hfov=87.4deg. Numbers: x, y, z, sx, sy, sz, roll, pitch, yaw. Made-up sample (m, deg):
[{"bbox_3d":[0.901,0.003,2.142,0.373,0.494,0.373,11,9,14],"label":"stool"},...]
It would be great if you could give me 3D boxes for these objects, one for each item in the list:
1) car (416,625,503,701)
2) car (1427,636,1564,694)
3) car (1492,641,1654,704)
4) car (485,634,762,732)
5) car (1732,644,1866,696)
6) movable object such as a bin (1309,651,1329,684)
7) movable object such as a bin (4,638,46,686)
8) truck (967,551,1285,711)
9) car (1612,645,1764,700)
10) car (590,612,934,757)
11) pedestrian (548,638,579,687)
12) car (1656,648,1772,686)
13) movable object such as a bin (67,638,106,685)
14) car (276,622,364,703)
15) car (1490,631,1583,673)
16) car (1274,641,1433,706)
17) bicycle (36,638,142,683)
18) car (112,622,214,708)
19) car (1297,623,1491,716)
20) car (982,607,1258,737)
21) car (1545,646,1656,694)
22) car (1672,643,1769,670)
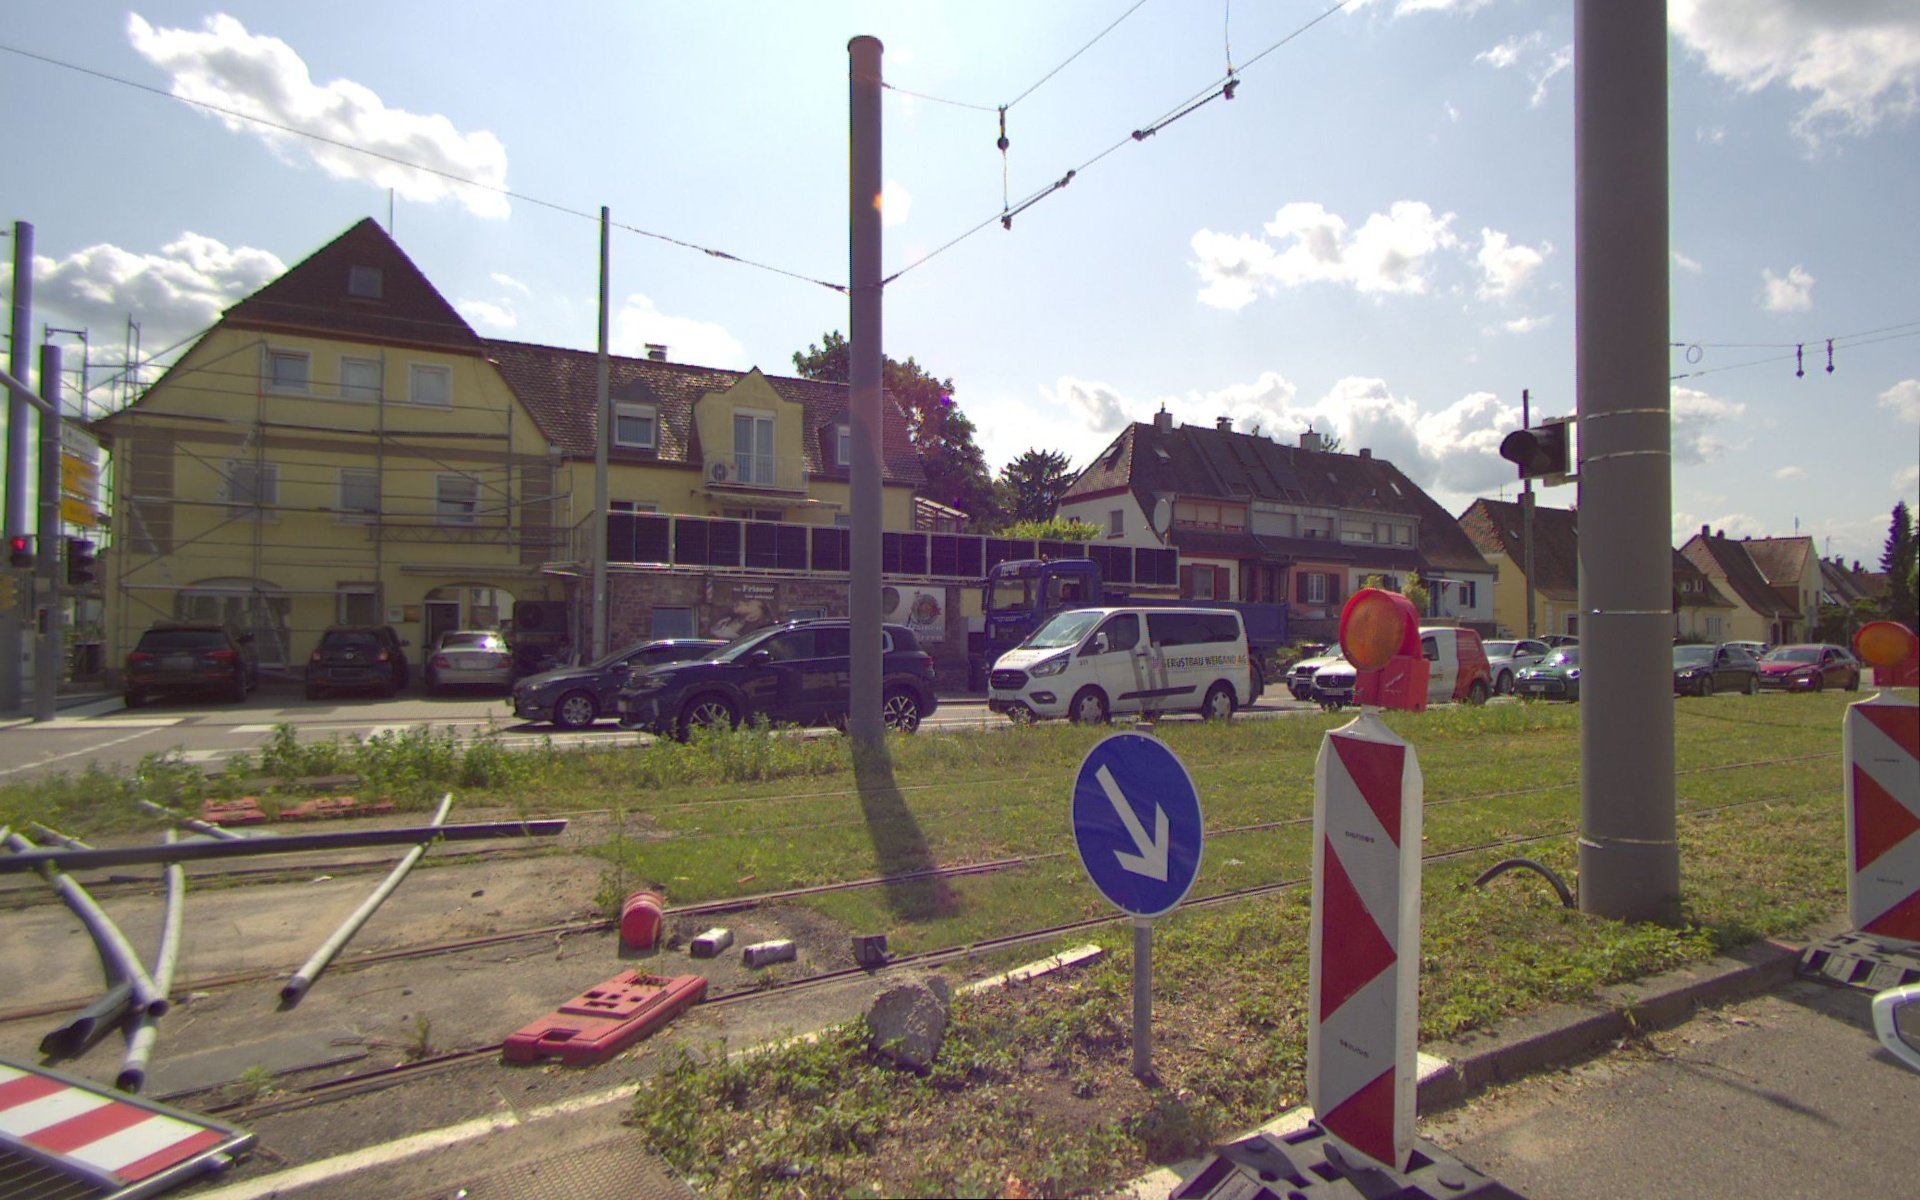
[{"bbox_3d":[-11.771,1.393,23.495,1.419,1.513,4.111,1,0,-32],"label":"car"},{"bbox_3d":[16.672,1.976,31.211,4.457,1.690,1.833,2,-3,-33],"label":"car"},{"bbox_3d":[15.189,1.751,24.859,3.957,1.437,1.904,2,-3,-33],"label":"car"},{"bbox_3d":[-5.789,1.377,17.406,4.283,1.506,1.819,2,-2,-30],"label":"car"},{"bbox_3d":[26.591,2.185,31.802,4.802,1.513,1.834,2,-3,-32],"label":"car"},{"bbox_3d":[13.066,2.447,36.514,0.569,1.200,0.442,2,-3,-37],"label":"movable object such as a bin"},{"bbox_3d":[-25.653,1.691,27.561,0.673,1.277,0.679,1,-1,-28],"label":"movable object such as a bin"},{"bbox_3d":[4.032,0.786,23.511,7.502,3.230,2.753,2,-3,-33],"label":"truck"},{"bbox_3d":[20.571,1.995,28.325,4.864,1.432,1.833,2,-3,-33],"label":"car"},{"bbox_3d":[-2.691,1.077,13.990,4.391,1.743,1.777,1,-2,-32],"label":"car"},{"bbox_3d":[-10.192,1.597,25.831,0.570,1.236,0.602,1,-1,-41],"label":"pedestrian"},{"bbox_3d":[28.422,2.497,37.832,4.722,1.361,1.835,2,-3,-30],"label":"car"},{"bbox_3d":[-24.470,1.714,28.142,0.673,1.277,0.679,1,-1,-28],"label":"movable object such as a bin"},{"bbox_3d":[-14.174,1.310,22.318,1.490,1.513,4.111,1,0,-32],"label":"car"},{"bbox_3d":[27.115,2.408,47.341,1.587,1.616,3.364,2,3,-33],"label":"car"},{"bbox_3d":[10.976,2.006,27.965,4.386,1.681,1.834,2,-3,-31],"label":"car"},{"bbox_3d":[-28.071,1.939,32.421,2.423,1.373,0.772,1,-1,-24],"label":"bicycle"},{"bbox_3d":[-16.377,1.262,20.774,1.166,1.513,4.111,1,0,-32],"label":"car"},{"bbox_3d":[9.367,1.449,21.558,4.358,1.805,1.723,2,-3,-33],"label":"car"},{"bbox_3d":[2.811,1.175,17.194,4.698,1.947,1.804,2,-2,-33],"label":"car"},{"bbox_3d":[21.911,2.363,34.357,3.614,1.513,1.834,2,-3,-32],"label":"car"},{"bbox_3d":[44.250,3.261,58.490,1.969,1.486,4.087,2,-2,-31],"label":"car"}]
